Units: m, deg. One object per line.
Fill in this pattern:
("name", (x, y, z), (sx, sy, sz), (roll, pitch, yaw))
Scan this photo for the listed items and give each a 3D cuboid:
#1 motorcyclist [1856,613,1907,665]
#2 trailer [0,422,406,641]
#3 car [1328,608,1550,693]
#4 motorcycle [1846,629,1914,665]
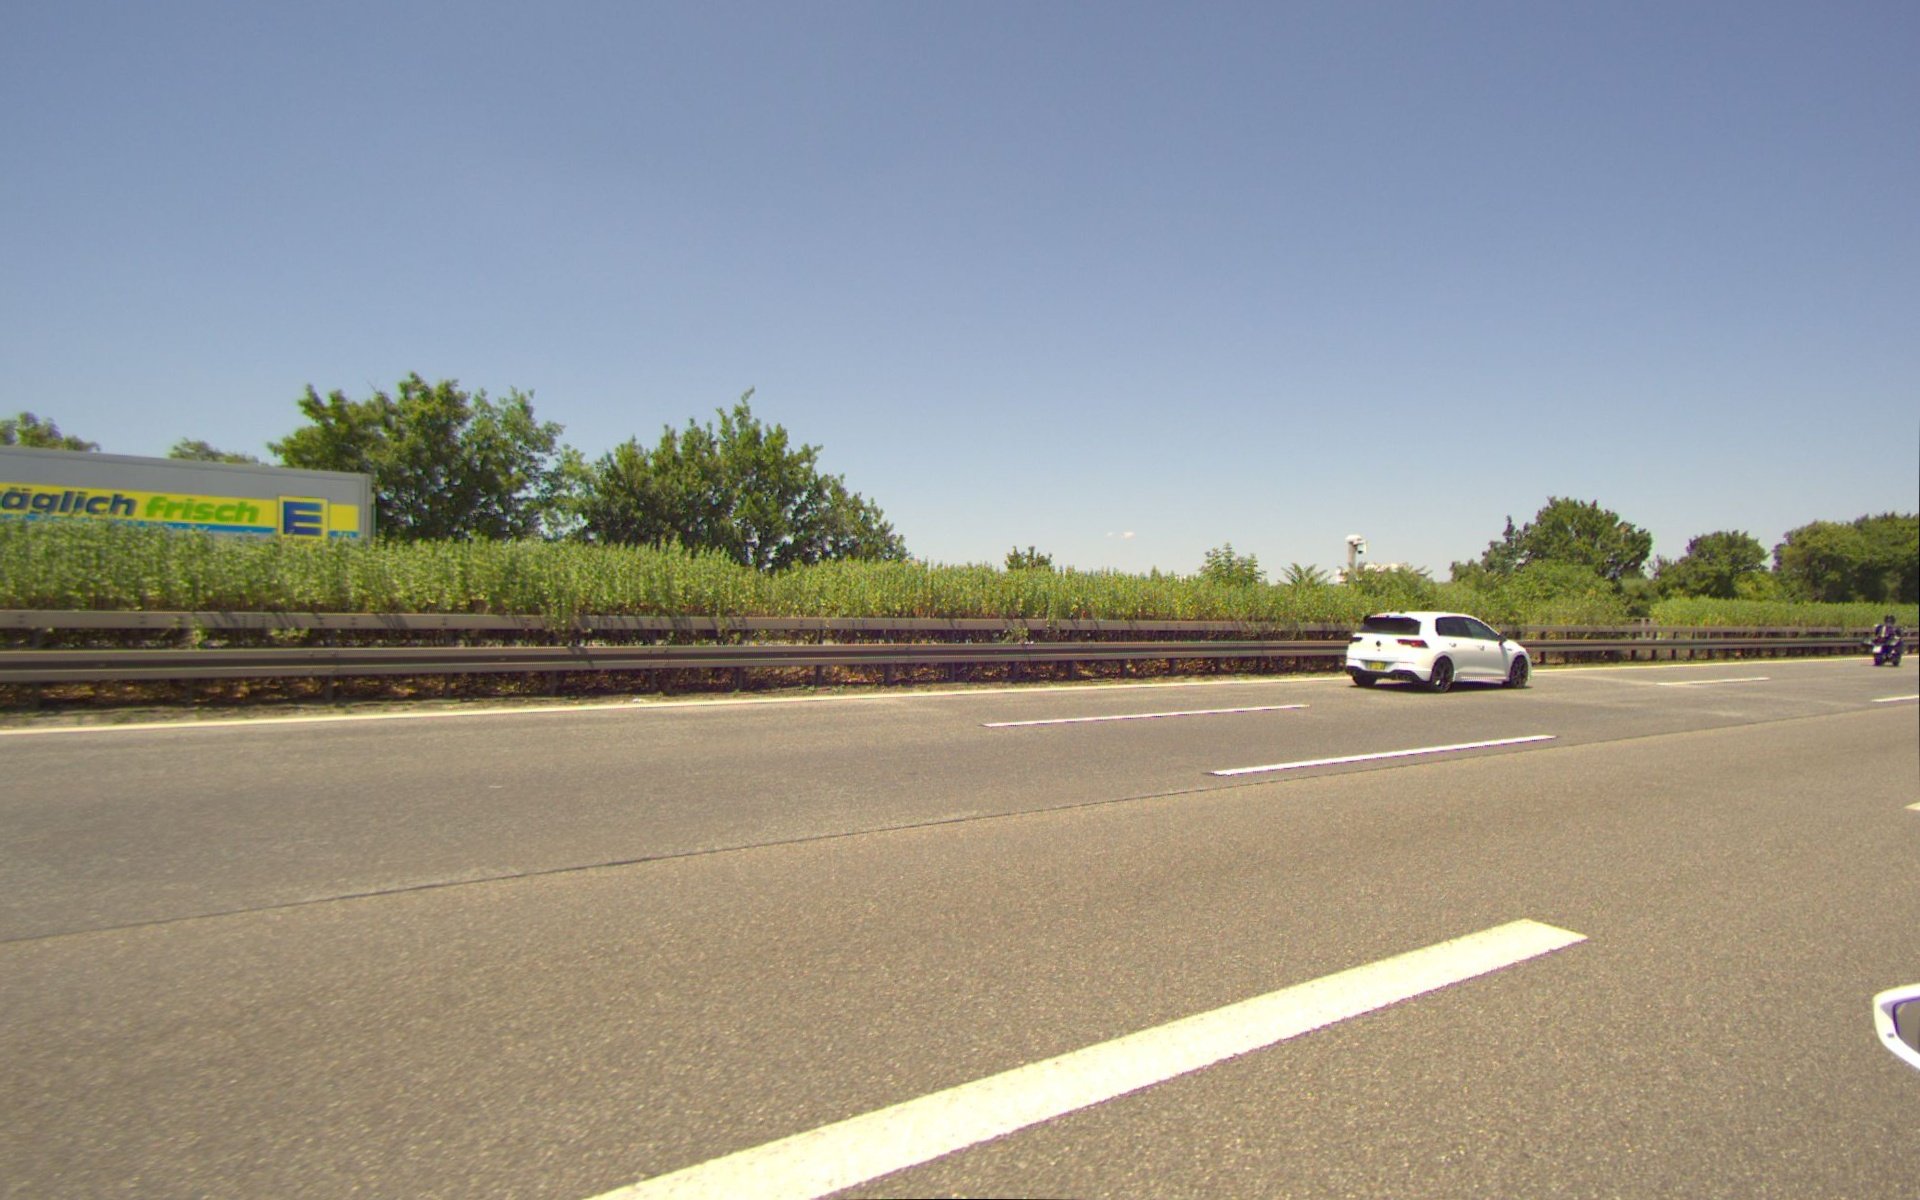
("motorcyclist", (29.779, 1.258, 32.461), (1.285, 1.618, 0.888), (1, 0, -32))
("trailer", (-16.593, -1.226, 20.958), (8.571, 4.020, 2.904), (1, 0, -35))
("car", (9.359, 0.942, 19.500), (4.619, 1.460, 1.771), (2, 0, -34))
("motorcycle", (29.736, 1.517, 32.462), (2.818, 1.103, 0.908), (1, -1, -32))
